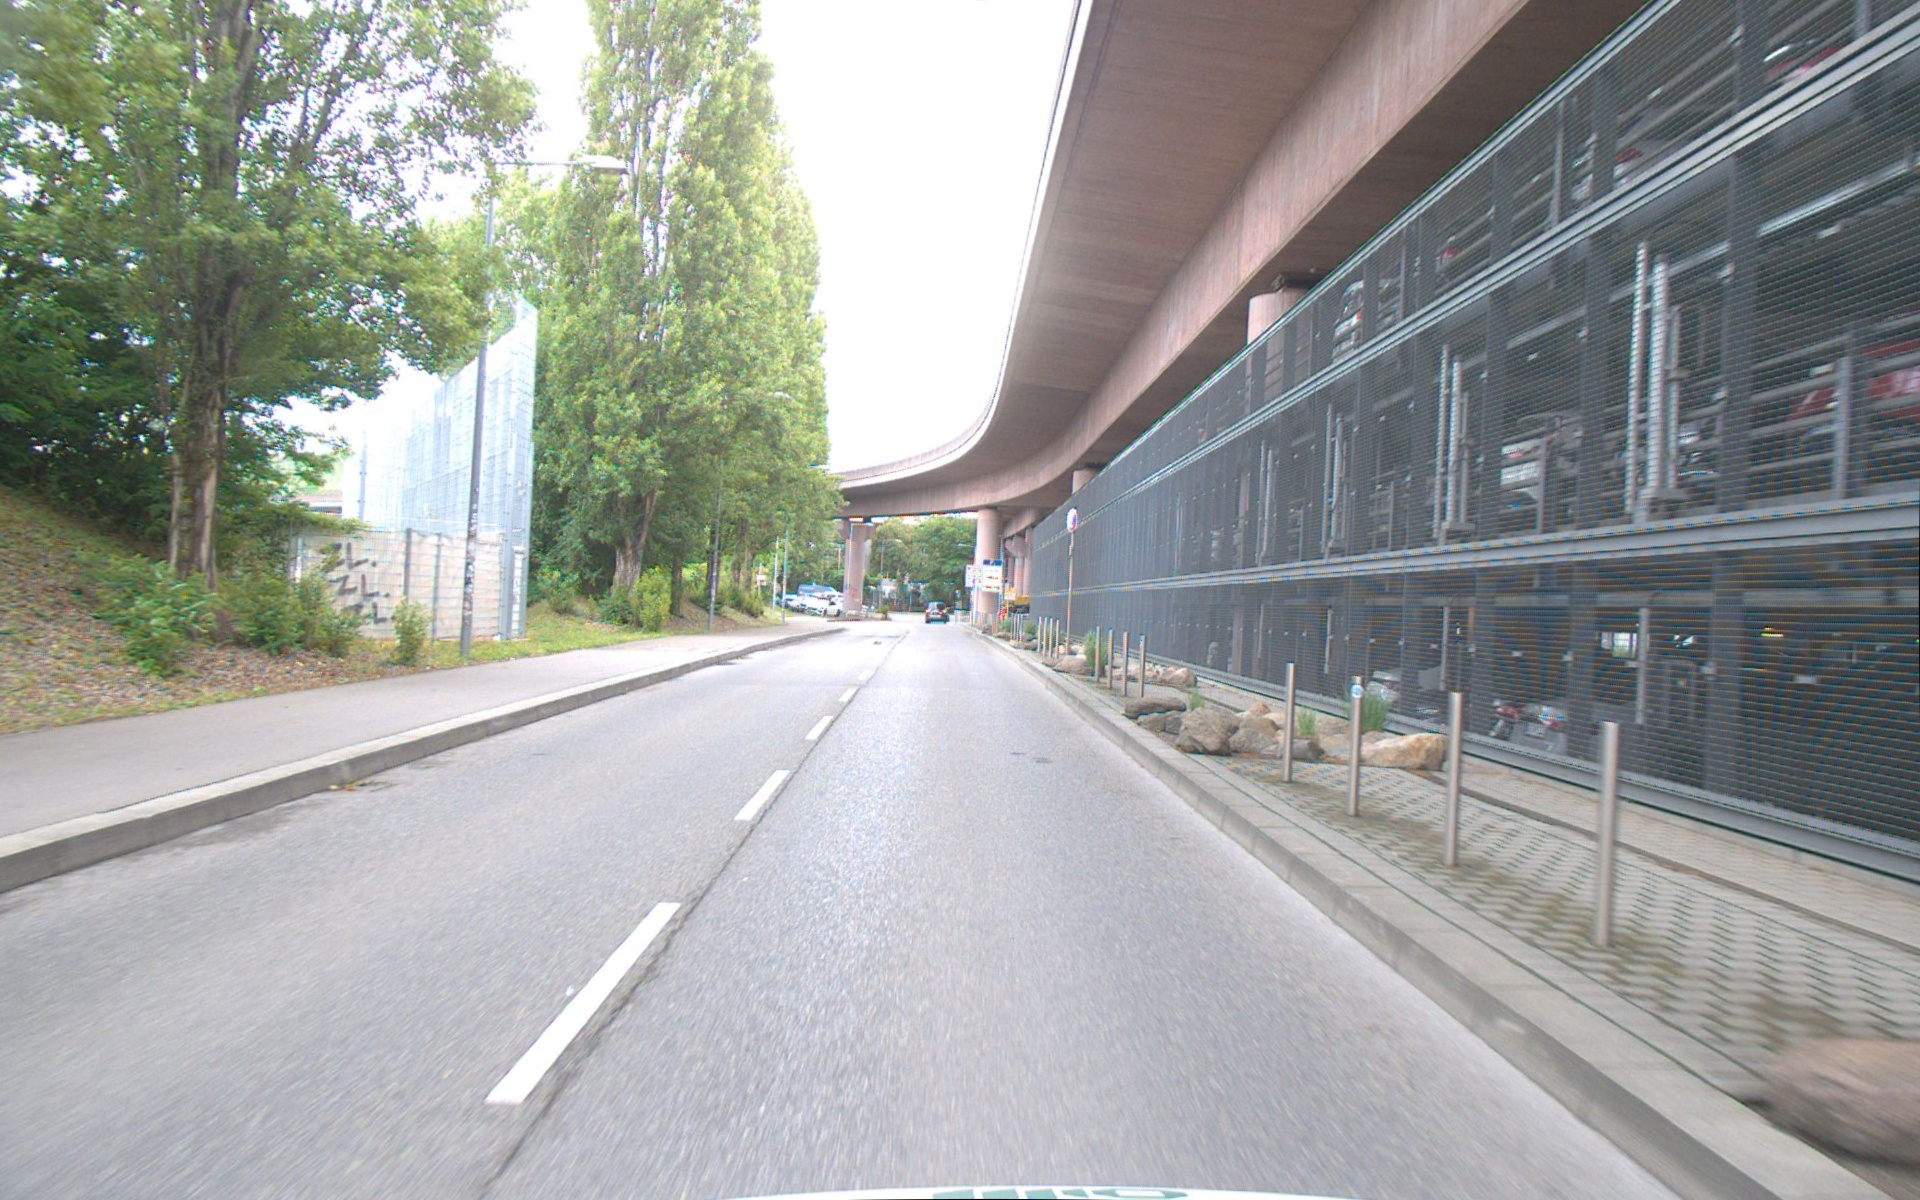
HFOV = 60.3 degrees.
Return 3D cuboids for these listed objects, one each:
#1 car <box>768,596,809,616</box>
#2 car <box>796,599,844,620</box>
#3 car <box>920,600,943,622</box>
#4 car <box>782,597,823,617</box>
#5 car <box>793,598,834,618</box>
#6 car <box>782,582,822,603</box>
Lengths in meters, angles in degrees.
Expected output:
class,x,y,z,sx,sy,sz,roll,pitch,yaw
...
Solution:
class,x,y,z,sx,sy,sz,roll,pitch,yaw
car,-16.303,0.588,157.272,1.774,1.746,3.653,3,1,40
car,-12.363,0.878,146.653,1.851,1.746,4.131,3,1,40
car,-2.376,0.917,138.289,1.802,1.741,3.705,2,1,-1
car,-14.621,0.654,154.128,1.694,1.746,3.653,3,1,40
car,-13.316,0.759,150.521,1.694,1.746,3.653,3,1,40
car,-17.111,-0.789,178.948,4.129,2.049,1.999,2,-1,-3
